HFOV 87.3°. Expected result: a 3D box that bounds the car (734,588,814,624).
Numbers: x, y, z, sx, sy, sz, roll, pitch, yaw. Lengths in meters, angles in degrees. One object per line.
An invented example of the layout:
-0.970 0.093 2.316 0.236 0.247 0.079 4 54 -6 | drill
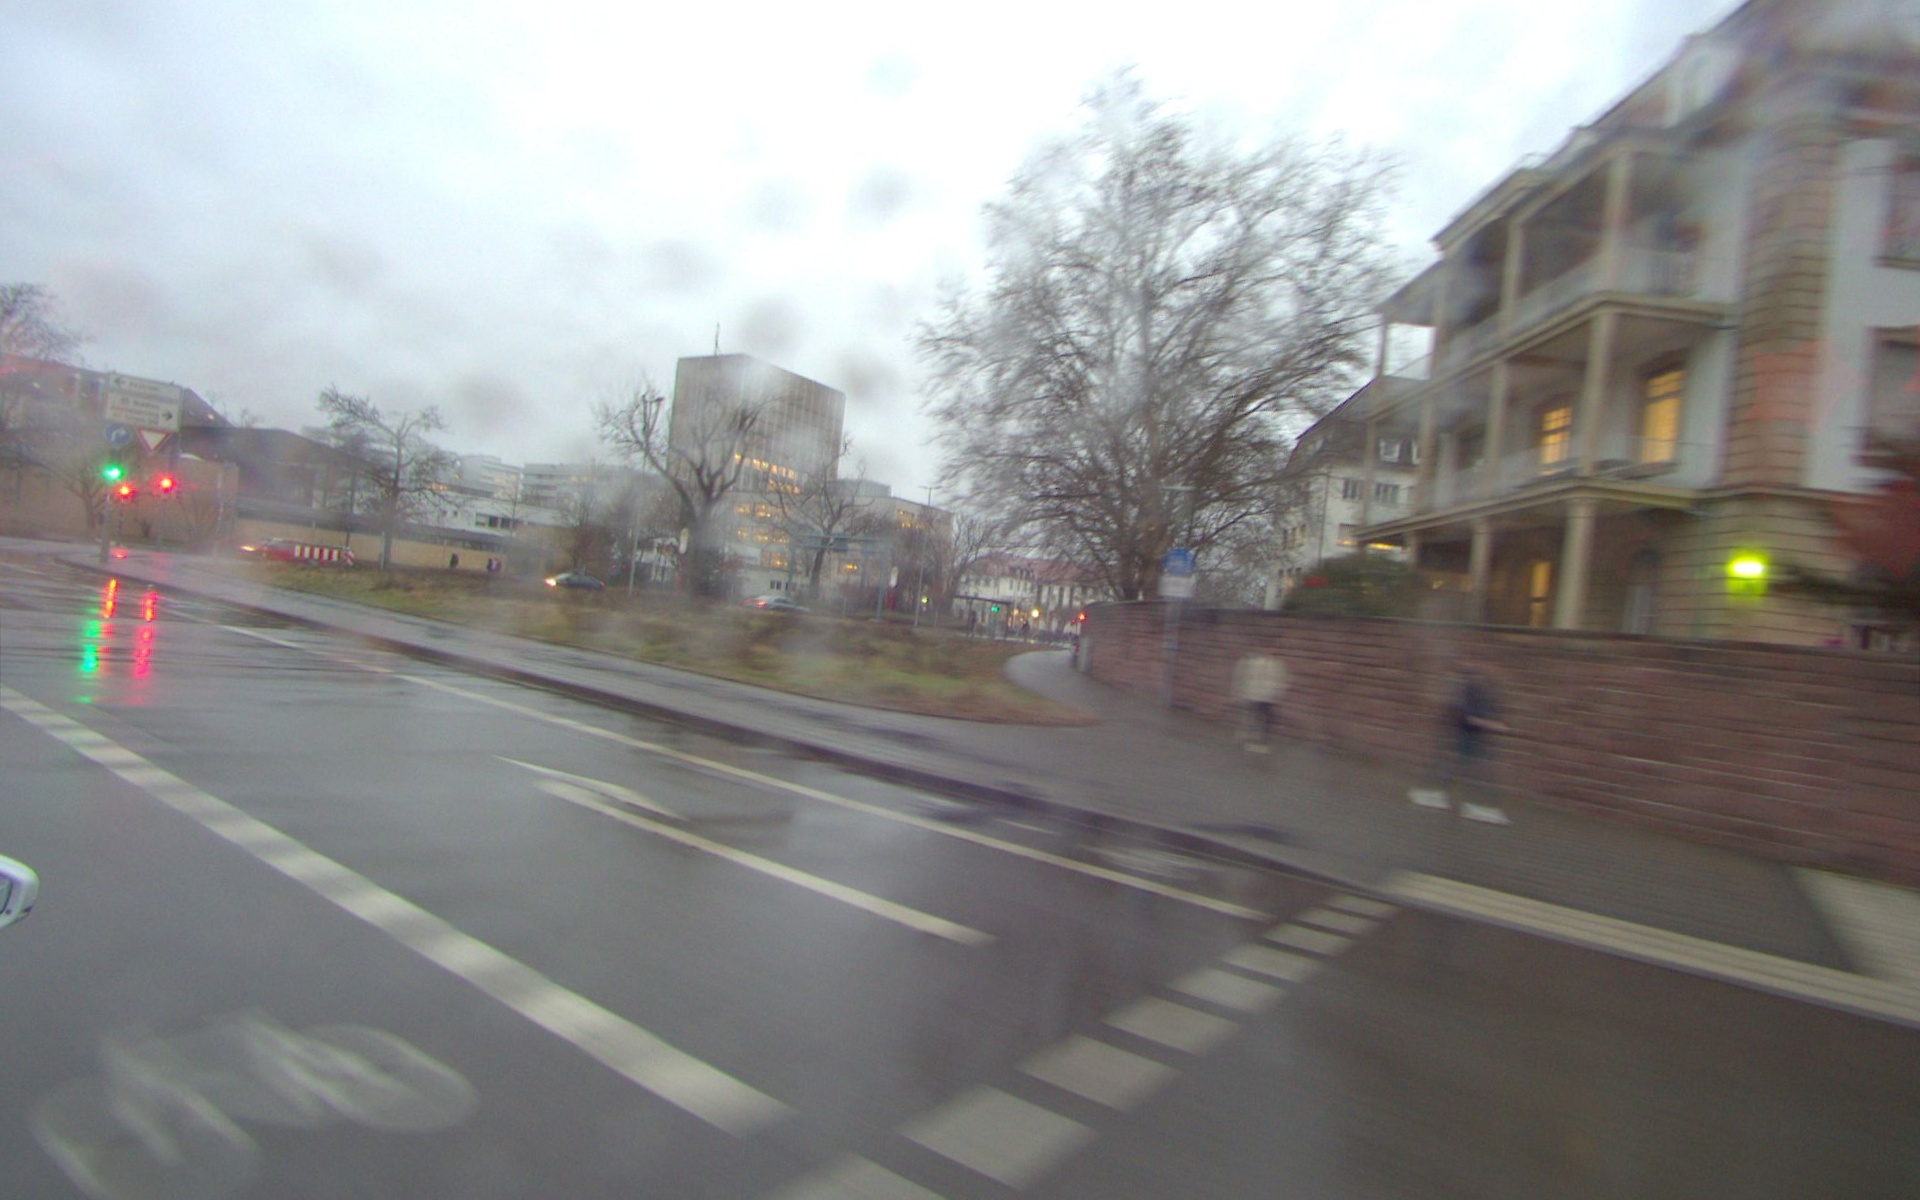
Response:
-7.105 0.228 38.408 2.653 0.989 1.292 8 0 -30 | car

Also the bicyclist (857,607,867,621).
-10.049 1.441 103.200 0.600 1.260 0.697 4 -3 43 | bicyclist

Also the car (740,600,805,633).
-11.858 1.058 63.844 1.863 1.669 3.633 4 -4 39 | car

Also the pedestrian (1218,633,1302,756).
4.521 1.402 15.239 0.765 1.697 0.961 6 1 -4 | pedestrian

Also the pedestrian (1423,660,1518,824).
5.758 1.569 11.388 0.716 1.697 0.792 6 1 22 | pedestrian

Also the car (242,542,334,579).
-36.160 -2.106 54.226 1.544 1.413 3.785 4 -4 43 | car

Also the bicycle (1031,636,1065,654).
6.092 3.134 69.736 2.375 1.002 0.479 4 -3 35 | bicycle

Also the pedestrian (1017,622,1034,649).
4.692 2.517 71.776 0.824 1.856 0.666 4 -3 38 | pedestrian

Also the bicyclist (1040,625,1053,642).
6.000 2.316 69.877 0.691 1.092 0.493 4 -3 36 | bicyclist

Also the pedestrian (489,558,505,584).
-33.484 -2.104 72.722 0.750 1.744 0.623 4 -3 42 | pedestrian

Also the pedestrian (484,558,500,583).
-34.097 -2.166 73.298 0.750 1.744 0.623 4 -3 42 | pedestrian

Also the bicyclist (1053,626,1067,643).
6.935 2.386 69.905 0.691 1.092 0.493 4 -3 36 | bicyclist

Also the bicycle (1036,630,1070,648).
6.484 2.732 70.165 2.375 1.002 0.536 4 -3 35 | bicycle

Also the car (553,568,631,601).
-24.676 -1.011 67.562 4.420 1.597 1.946 9 -4 -42 | car

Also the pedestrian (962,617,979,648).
0.684 2.065 64.082 0.633 1.856 0.836 5 -2 27 | pedestrian
